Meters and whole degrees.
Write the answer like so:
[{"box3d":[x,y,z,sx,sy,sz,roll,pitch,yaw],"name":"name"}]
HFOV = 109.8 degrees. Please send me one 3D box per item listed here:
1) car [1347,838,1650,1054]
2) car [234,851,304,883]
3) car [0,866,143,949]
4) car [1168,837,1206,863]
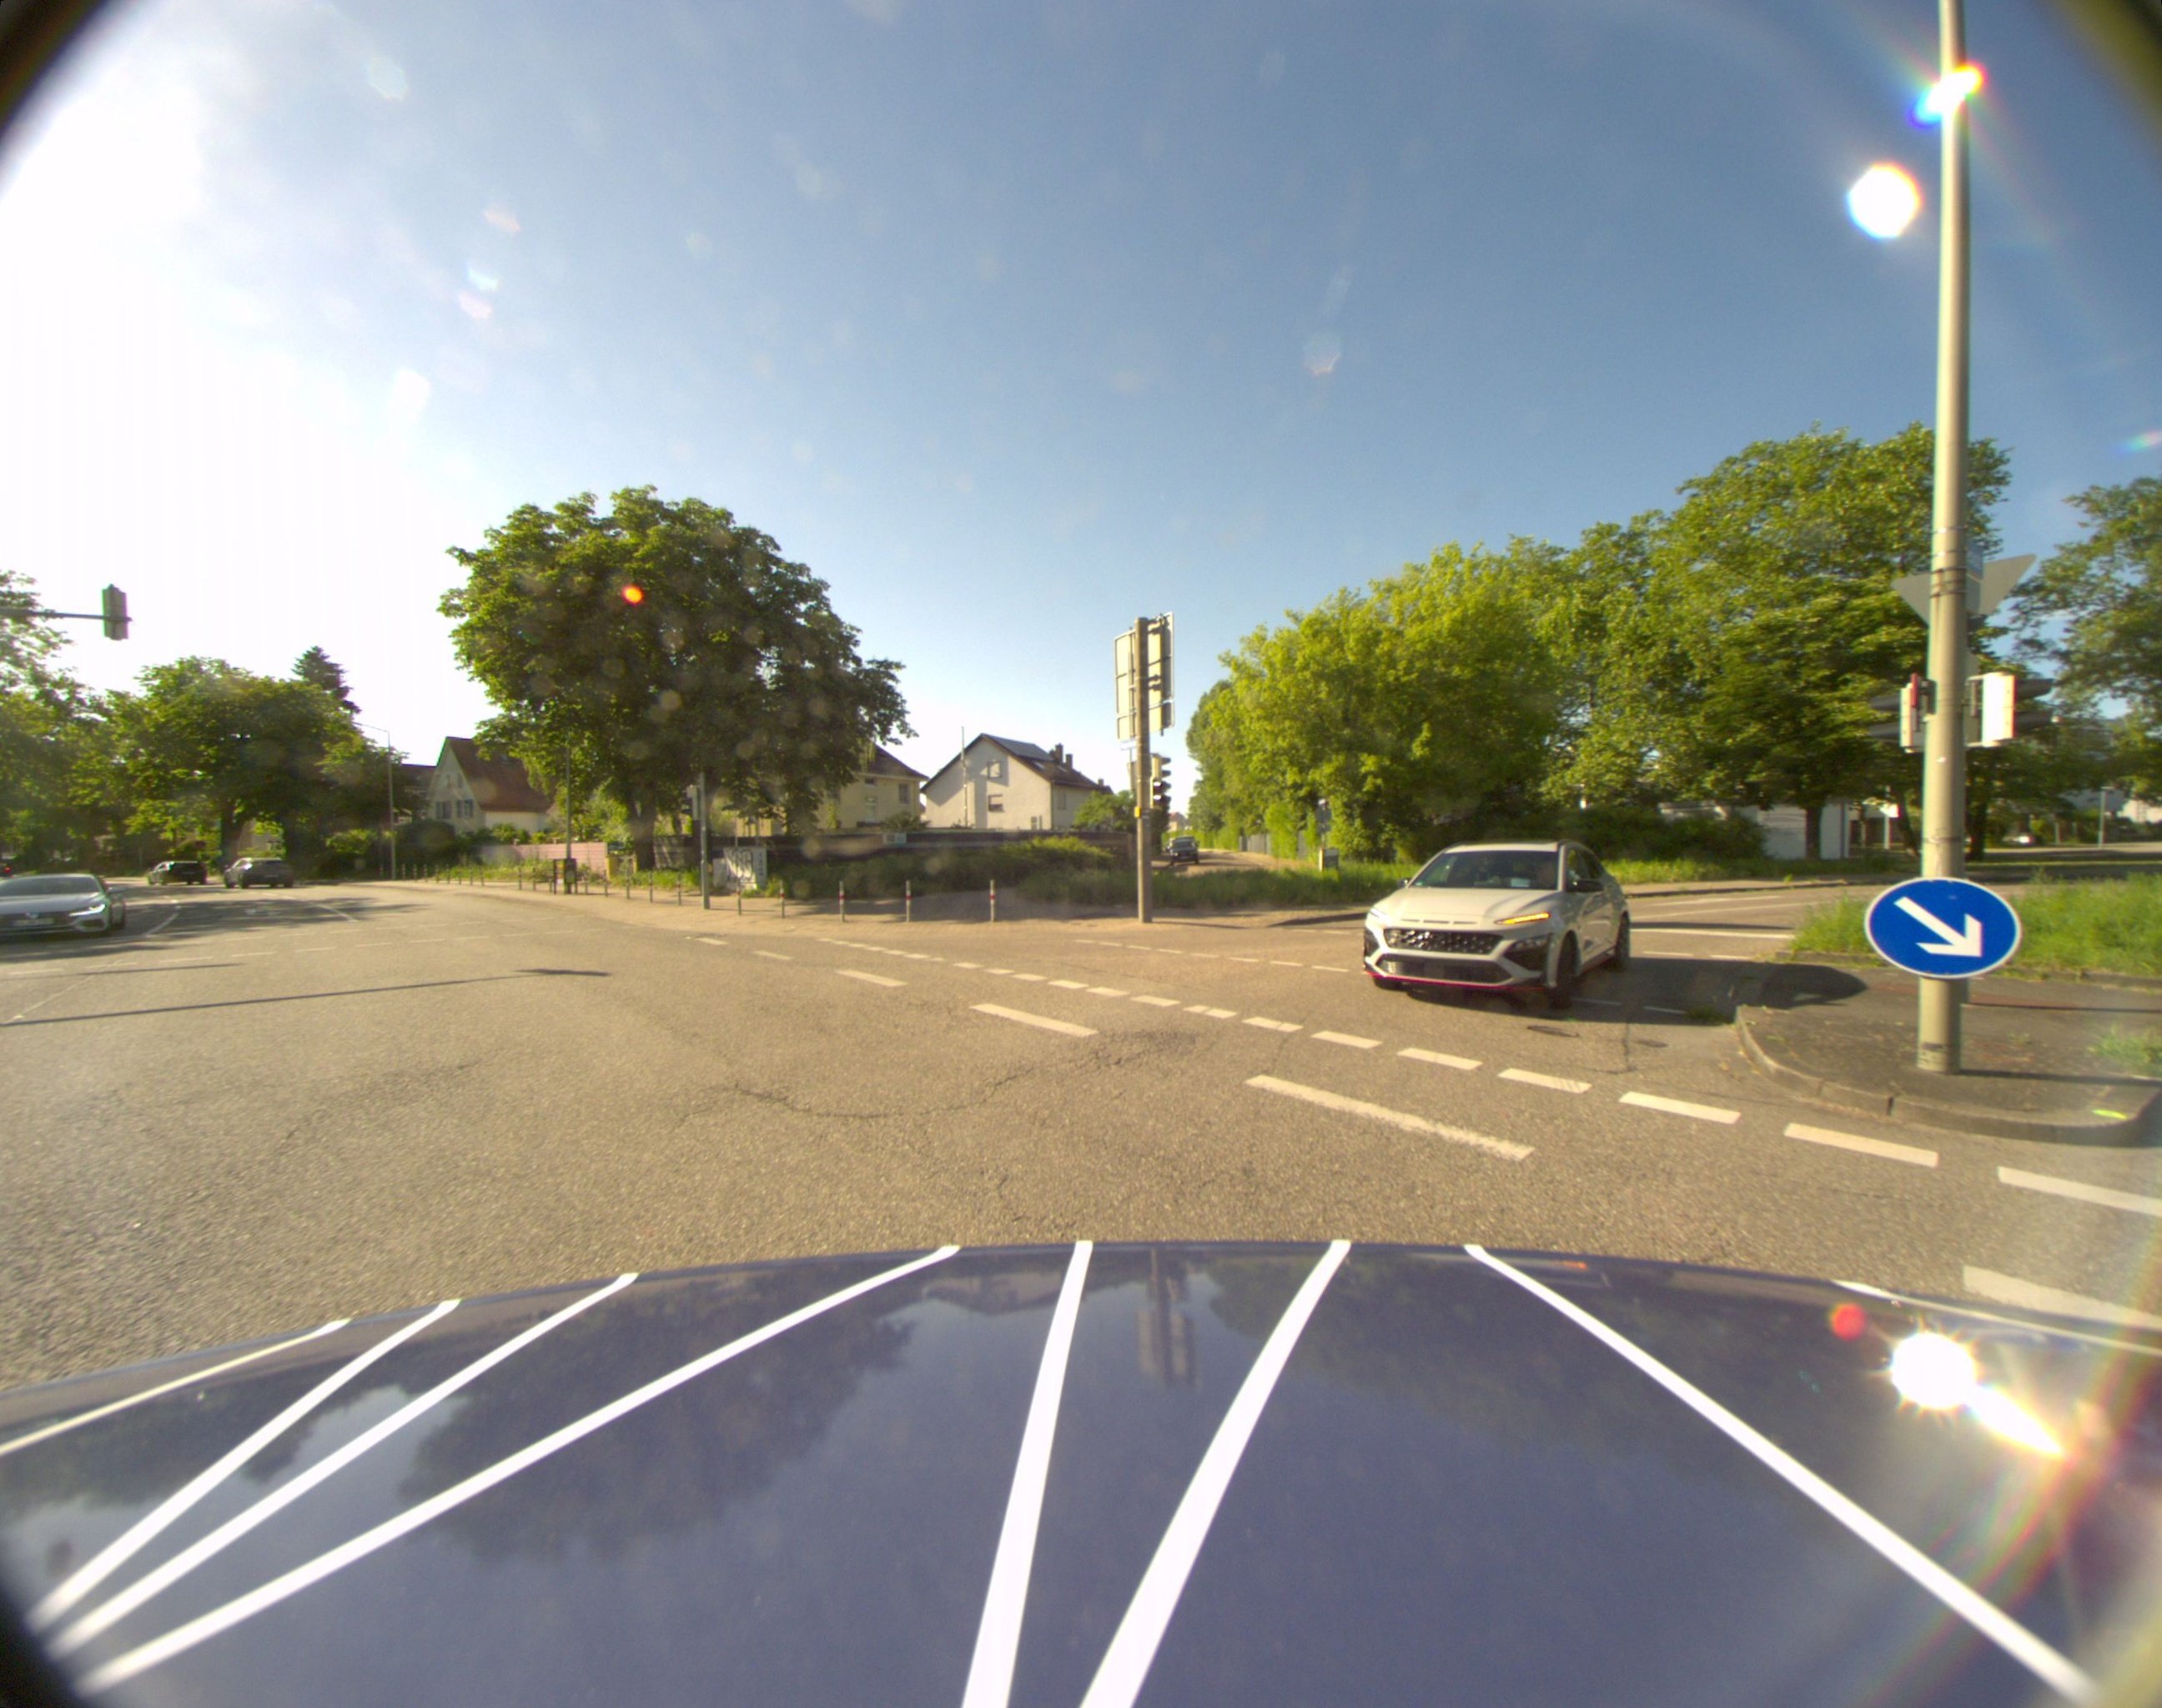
[{"box3d":[4.698,0.729,8.258,4.062,1.636,1.711,-4,3,-43],"name":"car"},{"box3d":[-43.019,0.672,40.241,4.244,1.625,1.866,-1,1,35],"name":"car"},{"box3d":[-22.641,1.100,16.880,4.501,1.523,1.814,0,2,44],"name":"car"},{"box3d":[6.825,-0.291,48.657,1.997,1.547,4.003,-2,1,13],"name":"car"}]
